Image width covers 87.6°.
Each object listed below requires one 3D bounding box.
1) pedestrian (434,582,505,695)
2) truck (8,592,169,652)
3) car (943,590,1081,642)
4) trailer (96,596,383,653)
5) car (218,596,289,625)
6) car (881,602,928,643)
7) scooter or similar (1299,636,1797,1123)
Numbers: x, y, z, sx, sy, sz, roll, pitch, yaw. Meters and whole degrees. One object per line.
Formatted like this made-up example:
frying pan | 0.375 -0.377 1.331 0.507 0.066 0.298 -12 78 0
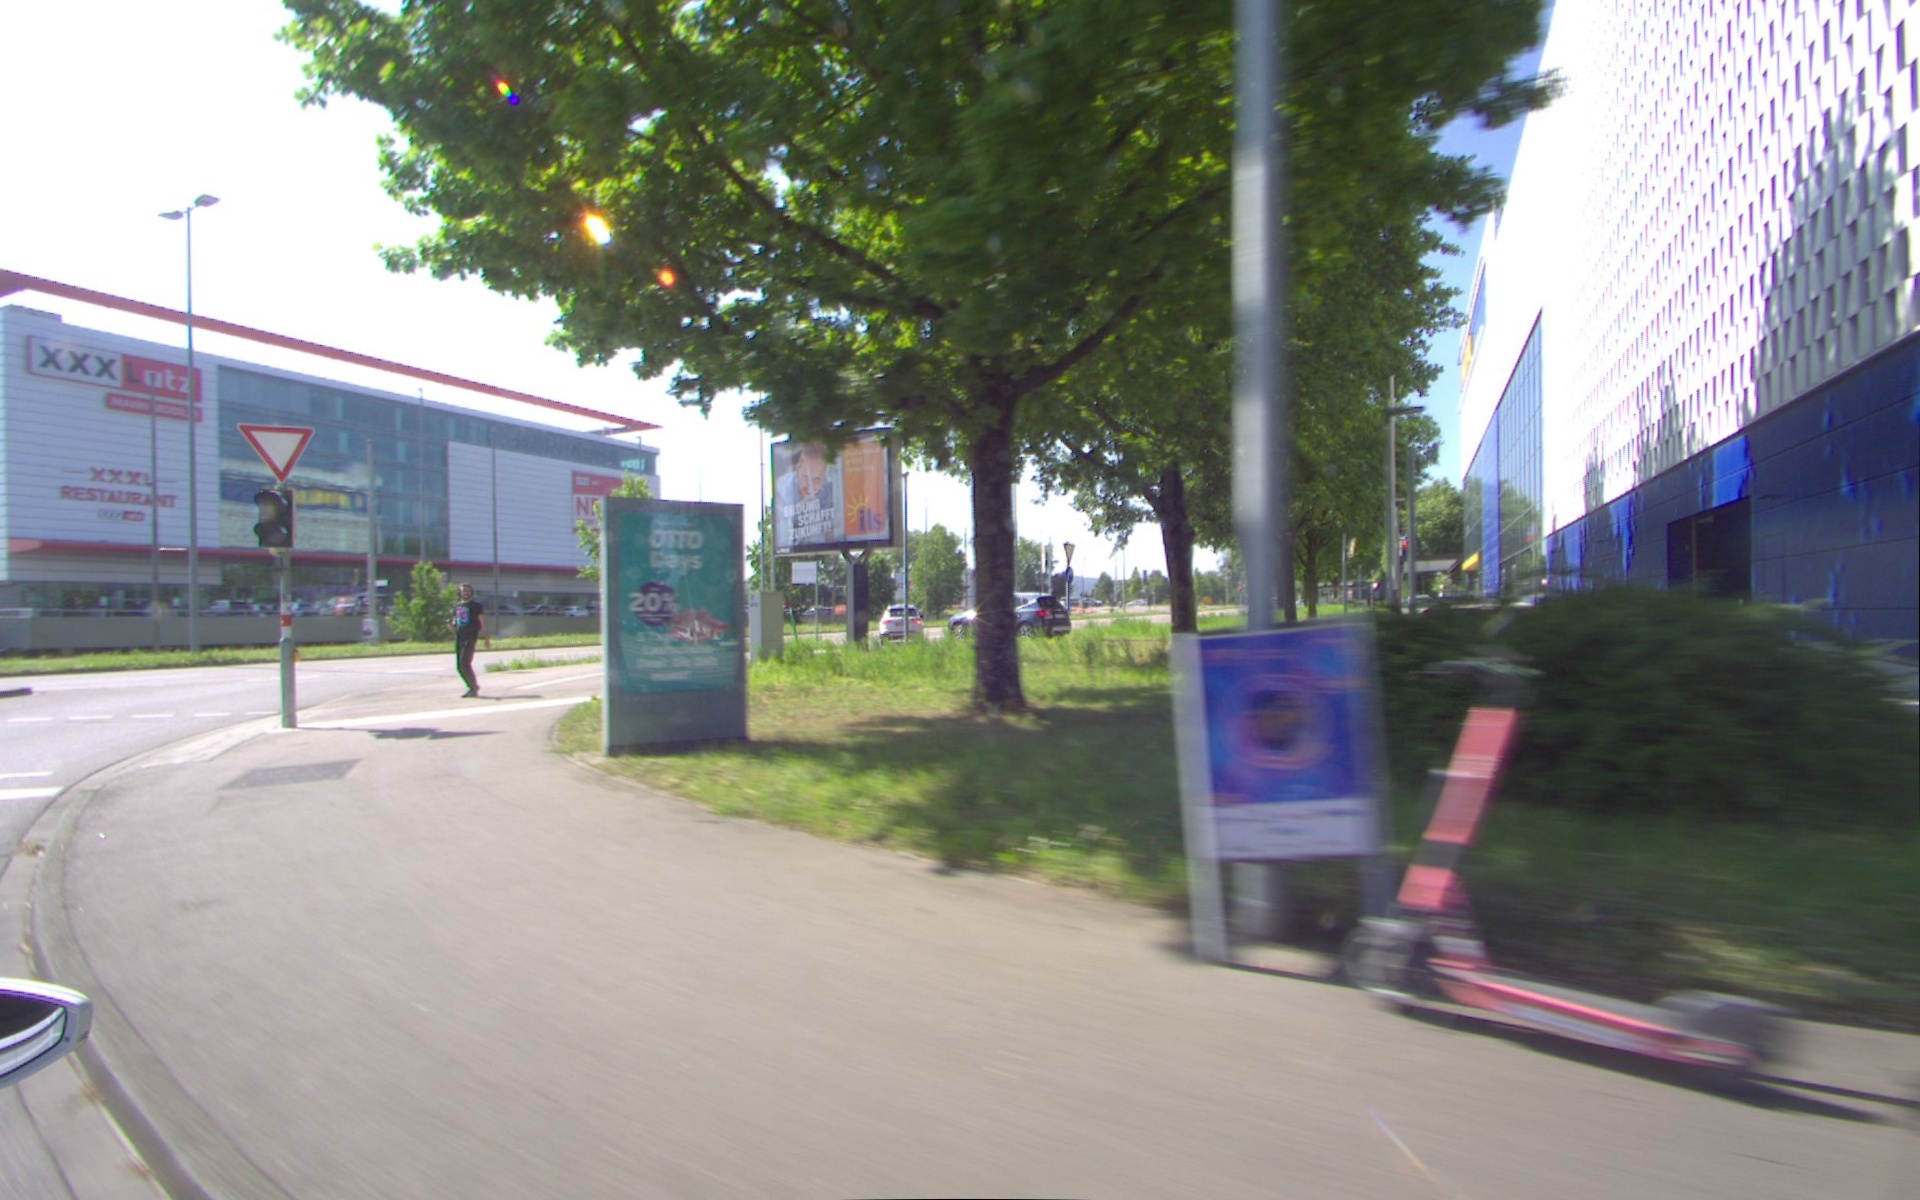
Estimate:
pedestrian | -7.968 0.612 16.272 0.790 1.793 0.628 -1 0 14
truck | -37.970 1.005 43.788 1.968 2.454 4.881 1 -2 27
car | 1.572 0.492 30.805 3.872 1.509 1.782 -1 -1 34
trailer | -34.946 1.354 49.545 1.969 2.500 11.871 1 -2 28
car | -55.011 0.824 78.042 1.966 2.039 3.991 1 -2 23
car | -2.197 0.876 39.833 1.757 1.509 3.926 -1 -1 -3
scooter or similar | 1.772 0.746 3.142 1.295 1.250 0.350 -1 0 39
